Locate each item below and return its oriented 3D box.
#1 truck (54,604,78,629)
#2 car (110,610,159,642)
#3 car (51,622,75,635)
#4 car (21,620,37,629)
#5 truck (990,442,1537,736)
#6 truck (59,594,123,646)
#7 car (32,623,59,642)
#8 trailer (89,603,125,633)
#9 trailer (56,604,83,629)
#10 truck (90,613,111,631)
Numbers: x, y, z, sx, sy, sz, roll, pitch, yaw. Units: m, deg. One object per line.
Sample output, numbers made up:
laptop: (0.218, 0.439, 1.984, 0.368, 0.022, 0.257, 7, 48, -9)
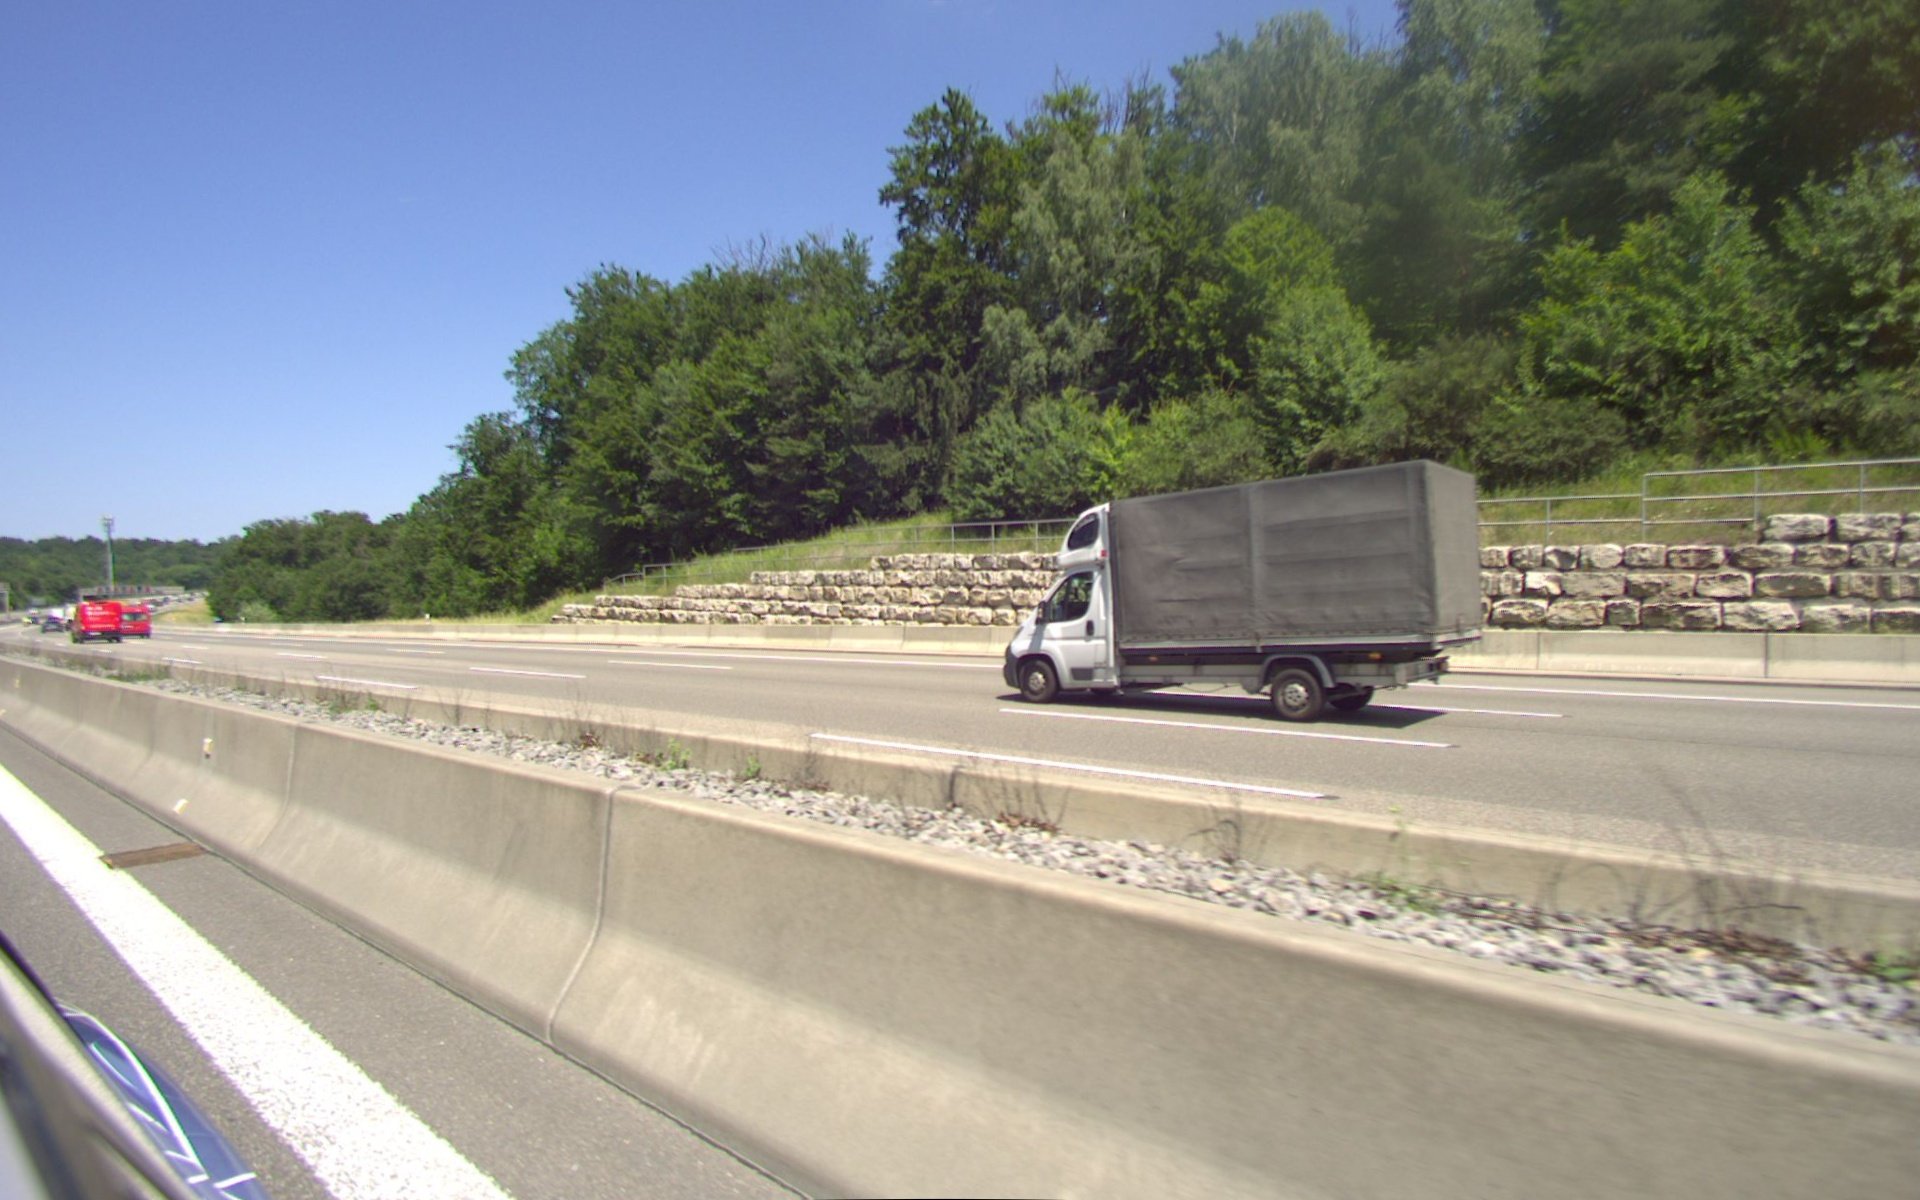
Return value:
truck: (-145.688, 2.728, 164.852, 6.804, 3.970, 2.502, -1, -1, 45)
car: (-61.535, 1.948, 75.413, 5.802, 2.304, 1.972, -2, 0, 43)
car: (-113.456, 3.593, 127.981, 1.971, 1.494, 4.582, -2, 1, -45)
car: (-175.130, 4.645, 190.337, 1.971, 1.718, 4.956, 0, -1, -45)
truck: (3.817, -0.089, 14.037, 6.917, 3.167, 2.252, -1, 0, 42)
truck: (-53.047, 1.250, 61.719, 7.013, 2.999, 2.087, -3, -1, 43)
car: (-102.889, 3.642, 113.872, 5.254, 1.885, 1.971, 0, 1, 45)
trailer: (-119.486, 2.556, 141.722, 2.692, 4.035, 13.731, 0, -1, -45)
trailer: (-141.849, 2.676, 161.125, 11.700, 3.910, 2.509, -1, -1, 45)
truck: (-171.303, 4.345, 201.743, 2.579, 3.492, 9.890, -2, 1, -43)
